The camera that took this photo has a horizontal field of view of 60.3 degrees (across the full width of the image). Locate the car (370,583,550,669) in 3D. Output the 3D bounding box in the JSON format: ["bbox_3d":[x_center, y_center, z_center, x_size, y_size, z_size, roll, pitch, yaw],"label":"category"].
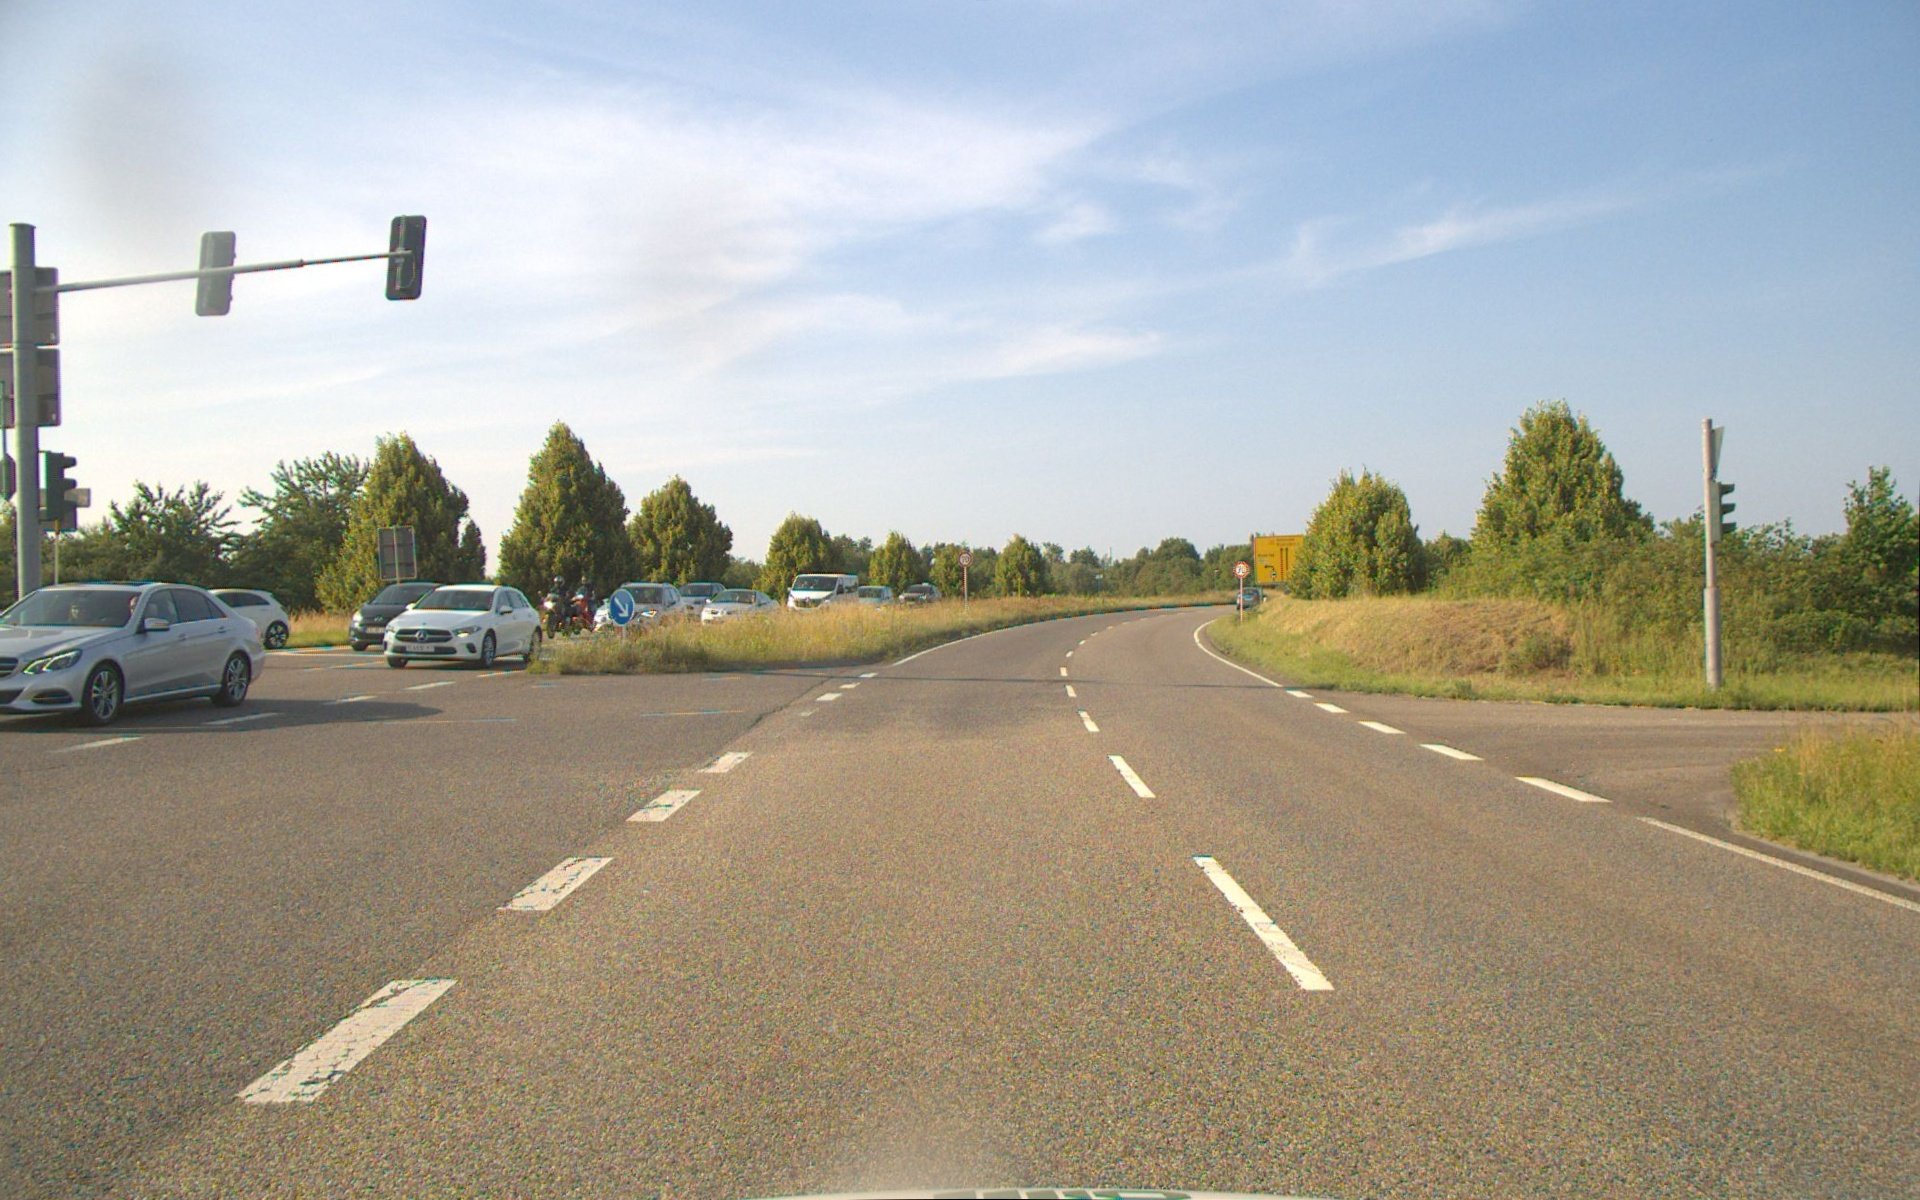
[{"bbox_3d":[-9.034,0.435,30.273,1.748,1.458,4.311,-1,0,4],"label":"car"}]

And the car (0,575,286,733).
[{"bbox_3d":[-9.402,0.521,18.278,1.748,1.514,4.653,-1,0,4],"label":"car"}]

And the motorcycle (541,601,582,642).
[{"bbox_3d":[-11.100,0.580,46.109,0.855,1.116,1.468,0,0,-3],"label":"motorcycle"}]

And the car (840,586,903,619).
[{"bbox_3d":[-3.864,0.110,73.046,1.748,1.410,4.055,-1,0,13],"label":"car"}]

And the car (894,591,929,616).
[{"bbox_3d":[-2.837,0.214,97.002,1.375,1.426,3.425,-1,0,11],"label":"car"}]

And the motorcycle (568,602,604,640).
[{"bbox_3d":[-11.371,0.637,50.355,0.855,1.116,1.298,0,0,-3],"label":"motorcycle"}]

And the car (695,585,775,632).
[{"bbox_3d":[-7.052,0.261,52.167,1.748,1.410,4.053,-1,0,4],"label":"car"}]

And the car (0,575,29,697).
[{"bbox_3d":[-12.721,0.454,19.131,1.685,1.514,3.805,-1,0,1],"label":"car"}]

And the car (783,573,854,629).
[{"bbox_3d":[-5.448,0.036,64.250,1.884,2.114,4.246,-1,0,7],"label":"car"}]

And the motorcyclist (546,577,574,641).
[{"bbox_3d":[-11.160,0.242,46.131,0.649,1.778,0.605,0,0,-4],"label":"motorcyclist"}]

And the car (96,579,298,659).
[{"bbox_3d":[-17.686,0.397,38.499,1.807,1.757,3.993,0,0,29],"label":"car"}]

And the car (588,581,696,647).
[{"bbox_3d":[-8.091,0.333,42.370,1.748,1.596,4.053,-1,0,4],"label":"car"}]

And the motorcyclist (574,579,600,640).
[{"bbox_3d":[-11.394,0.297,50.532,0.649,1.849,0.605,0,0,-4],"label":"motorcyclist"}]

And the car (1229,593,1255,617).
[{"bbox_3d":[20.289,0.381,119.098,1.746,1.633,4.199,0,-1,8],"label":"car"}]

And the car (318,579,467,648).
[{"bbox_3d":[-12.654,0.282,37.146,1.748,1.458,4.053,-1,0,4],"label":"car"}]
